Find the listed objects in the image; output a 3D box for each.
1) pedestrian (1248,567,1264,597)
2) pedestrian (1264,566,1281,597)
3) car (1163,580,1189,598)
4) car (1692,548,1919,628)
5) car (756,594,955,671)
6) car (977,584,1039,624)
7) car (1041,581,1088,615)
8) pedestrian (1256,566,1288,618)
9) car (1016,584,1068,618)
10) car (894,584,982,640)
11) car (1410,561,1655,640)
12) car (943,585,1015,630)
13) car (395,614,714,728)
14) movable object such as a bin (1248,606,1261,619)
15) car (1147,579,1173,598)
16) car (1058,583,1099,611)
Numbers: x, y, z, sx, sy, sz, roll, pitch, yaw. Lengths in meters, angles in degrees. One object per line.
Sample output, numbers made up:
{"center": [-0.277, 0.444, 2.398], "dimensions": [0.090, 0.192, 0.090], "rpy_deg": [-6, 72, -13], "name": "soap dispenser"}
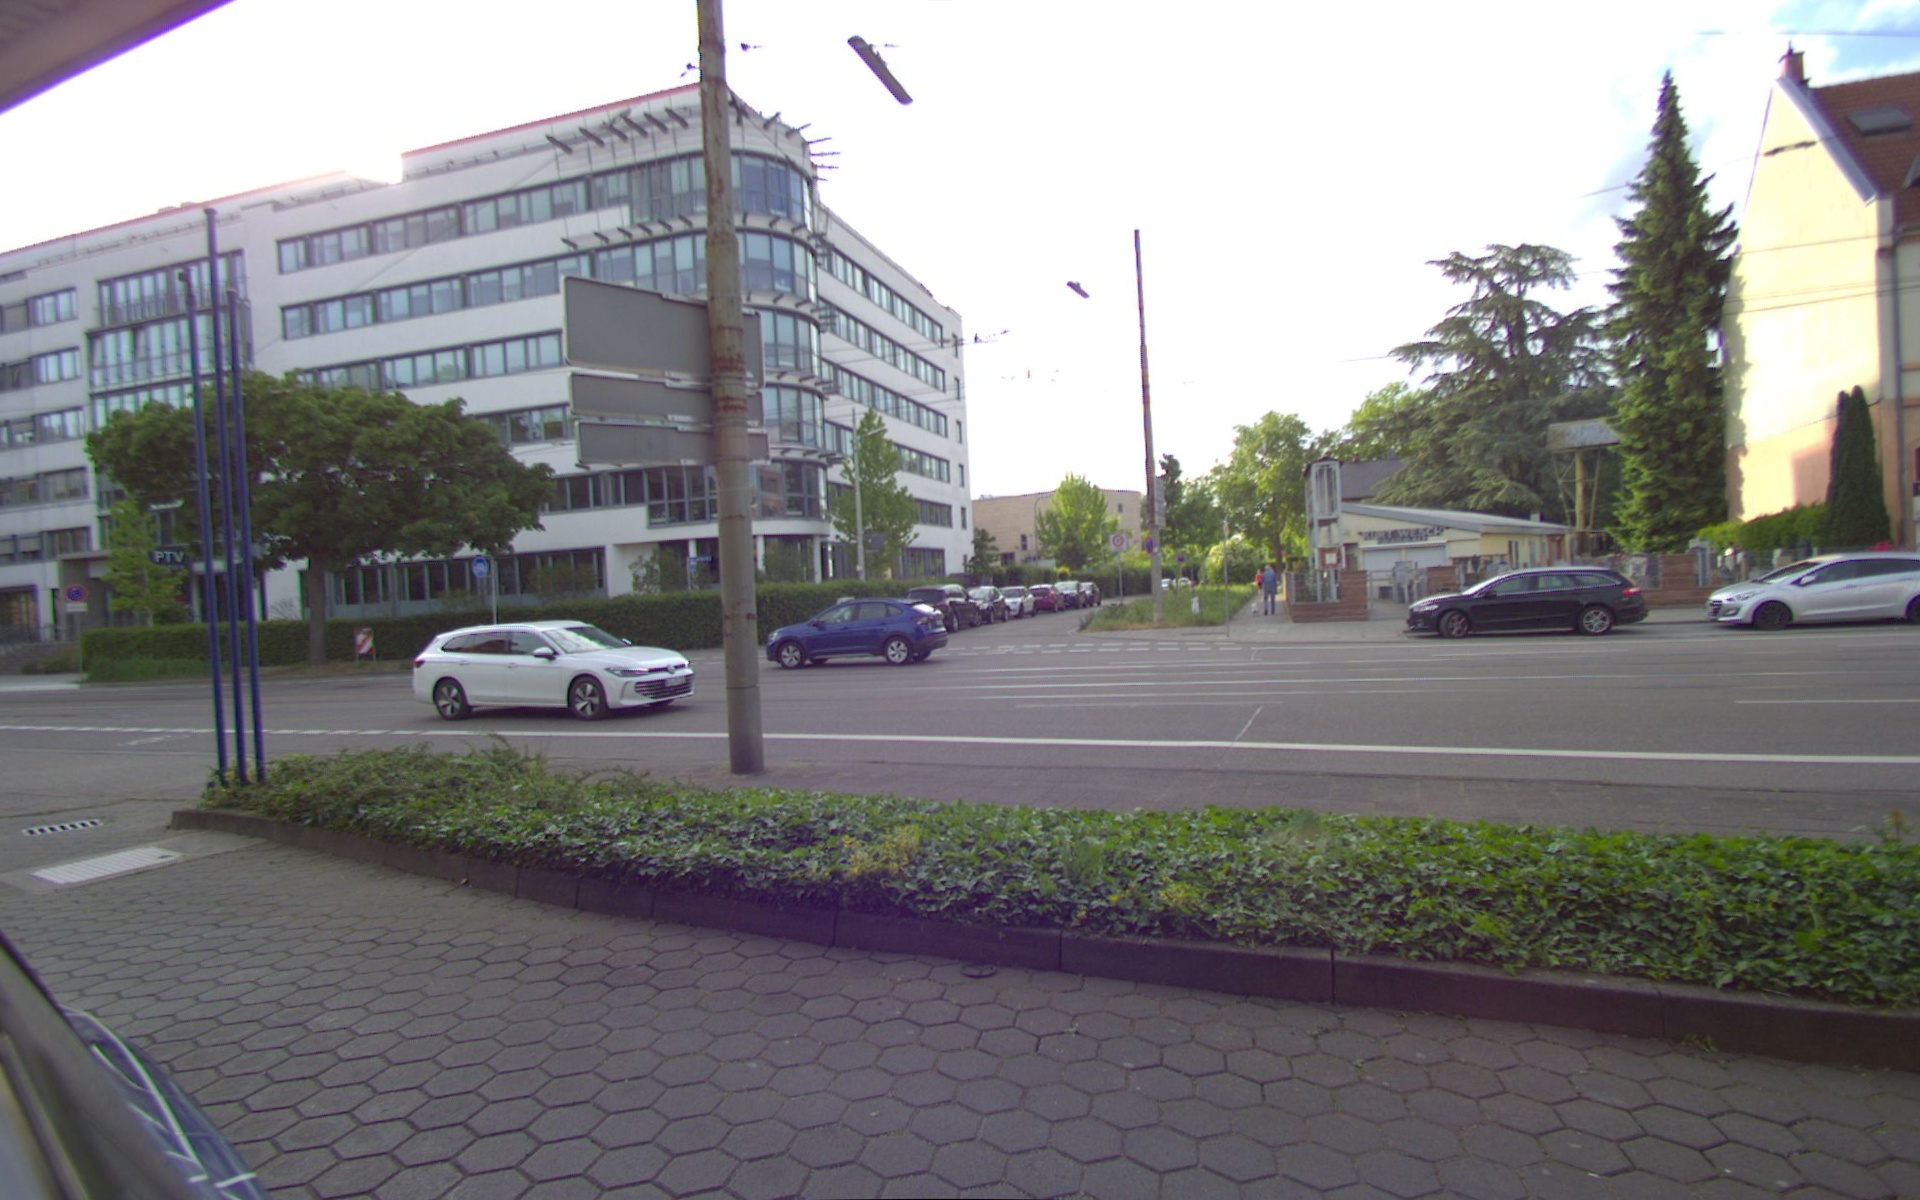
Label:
{"center": [18.576, -1.122, 63.497], "dimensions": [0.965, 1.896, 1.055], "rpy_deg": [-1, 0, 18], "name": "pedestrian"}
{"center": [19.509, -1.134, 63.191], "dimensions": [0.965, 1.896, 1.055], "rpy_deg": [-1, 0, 18], "name": "pedestrian"}
{"center": [22.833, -1.165, 106.856], "dimensions": [1.813, 1.654, 4.040], "rpy_deg": [-4, 0, 25], "name": "car"}
{"center": [18.398, -0.268, 21.400], "dimensions": [4.349, 1.493, 1.732], "rpy_deg": [-3, 1, 22], "name": "car"}
{"center": [-2.344, 0.731, 23.139], "dimensions": [4.098, 1.480, 1.856], "rpy_deg": [-3, 0, 14], "name": "car"}
{"center": [2.218, 0.151, 45.690], "dimensions": [1.807, 1.589, 4.175], "rpy_deg": [-4, 0, 16], "name": "car"}
{"center": [6.026, -0.138, 57.809], "dimensions": [1.807, 1.704, 4.392], "rpy_deg": [-4, 0, 16], "name": "car"}
{"center": [10.692, -0.278, 34.719], "dimensions": [0.901, 1.712, 0.921], "rpy_deg": [-3, 2, 14], "name": "pedestrian"}
{"center": [4.294, 0.021, 52.411], "dimensions": [1.807, 1.589, 4.175], "rpy_deg": [-4, 0, 16], "name": "car"}
{"center": [-0.694, 0.358, 35.570], "dimensions": [1.807, 1.701, 4.370], "rpy_deg": [-4, 1, 16], "name": "car"}
{"center": [13.005, 0.008, 23.371], "dimensions": [4.632, 1.533, 1.842], "rpy_deg": [-3, 2, 22], "name": "car"}
{"center": [0.824, 0.271, 40.986], "dimensions": [1.807, 1.589, 4.175], "rpy_deg": [-4, 0, 16], "name": "car"}
{"center": [-6.536, 1.125, 16.288], "dimensions": [4.795, 1.520, 1.850], "rpy_deg": [-2, 2, 23], "name": "car"}
{"center": [10.162, 0.428, 34.922], "dimensions": [0.363, 0.397, 0.660], "rpy_deg": [-2, 2, 14], "name": "movable object such as a bin"}
{"center": [19.956, -1.144, 100.910], "dimensions": [1.811, 1.654, 4.044], "rpy_deg": [-4, 0, 22], "name": "car"}
{"center": [7.381, -0.216, 62.574], "dimensions": [1.807, 1.585, 4.052], "rpy_deg": [-4, 0, 16], "name": "car"}
